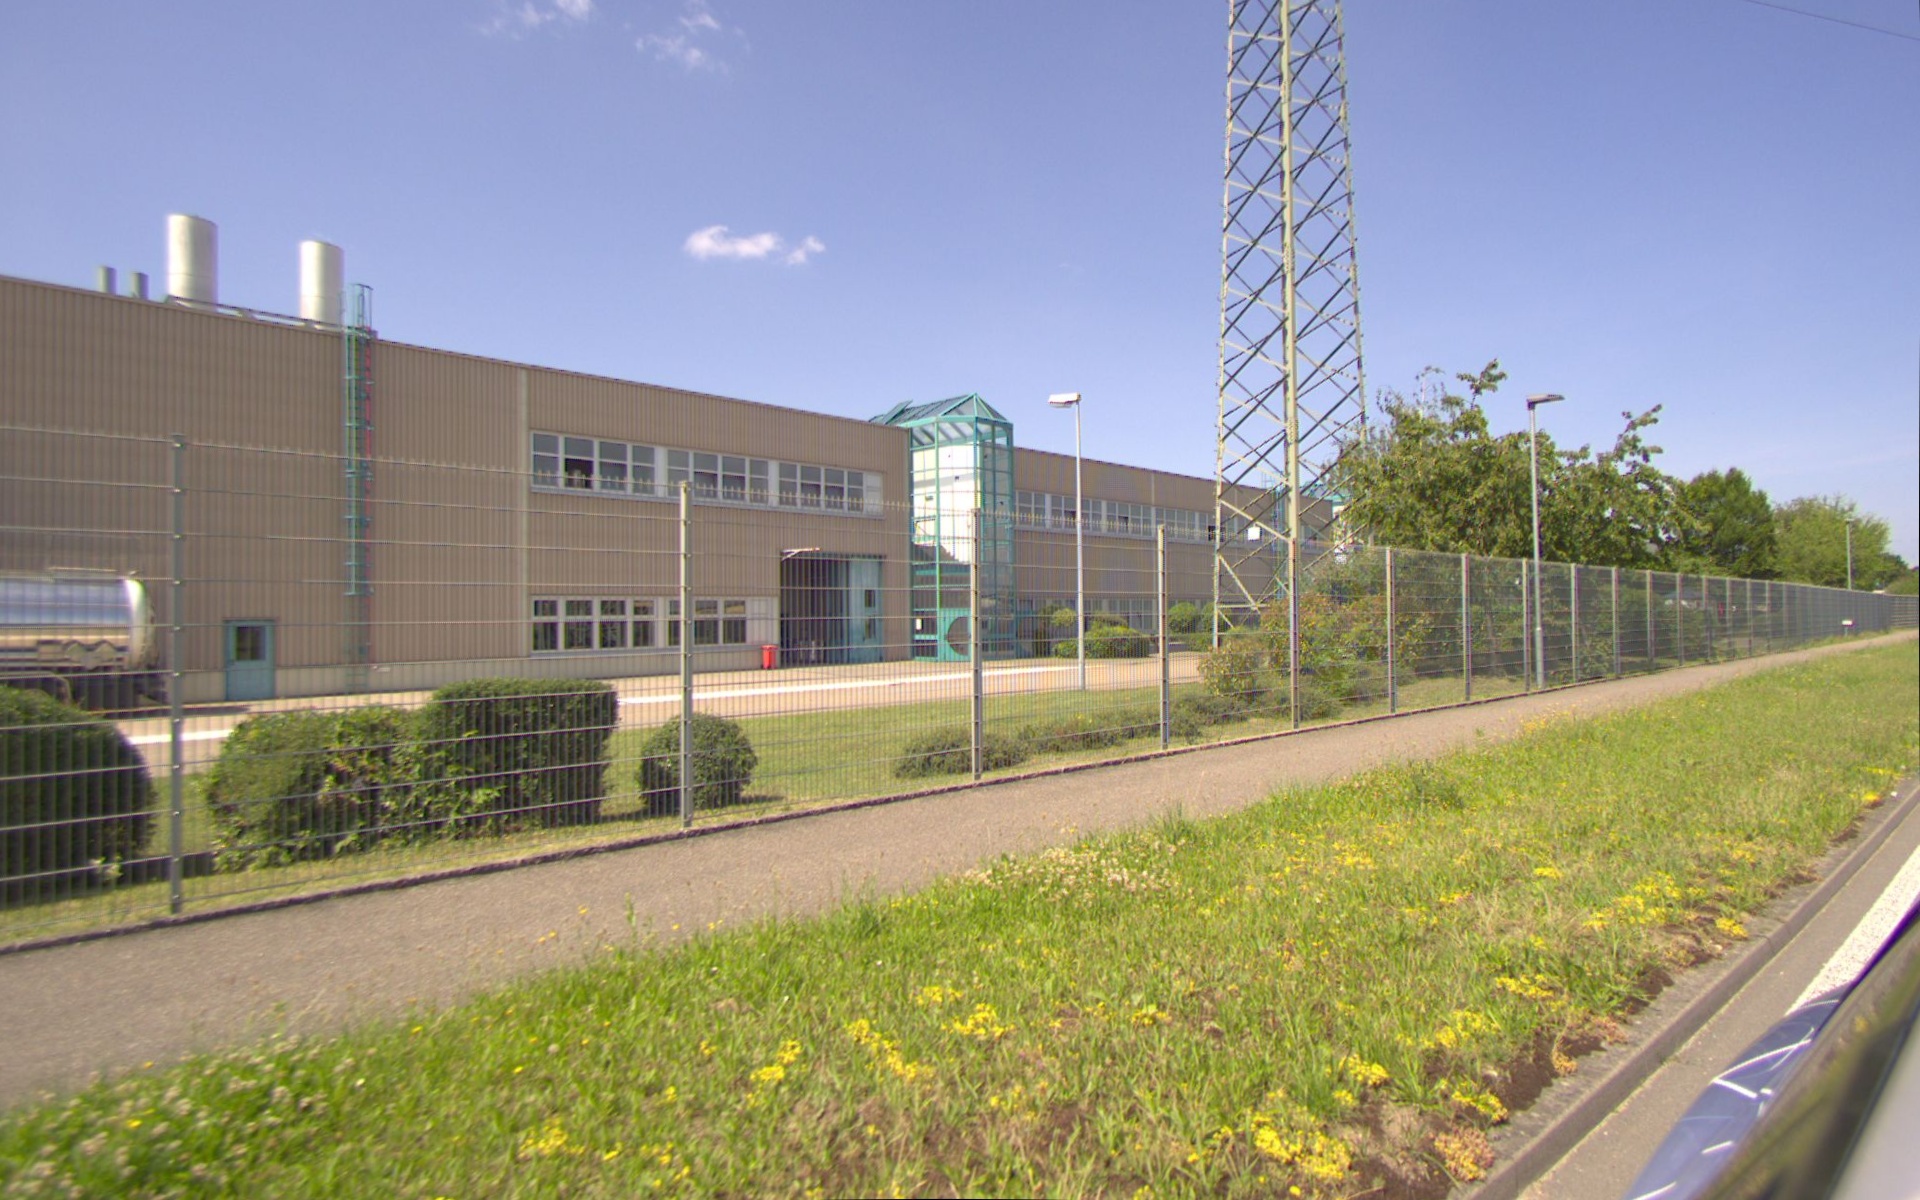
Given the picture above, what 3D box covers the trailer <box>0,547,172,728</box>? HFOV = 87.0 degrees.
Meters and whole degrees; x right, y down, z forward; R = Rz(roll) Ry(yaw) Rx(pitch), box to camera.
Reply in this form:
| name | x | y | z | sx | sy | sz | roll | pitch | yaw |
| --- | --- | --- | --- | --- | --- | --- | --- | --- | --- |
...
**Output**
| name | x | y | z | sx | sy | sz | roll | pitch | yaw |
| --- | --- | --- | --- | --- | --- | --- | --- | --- | --- |
| trailer | -23.507 | 0.779 | 20.068 | 3.589 | 3.783 | 12.049 | 0 | 0 | 42 |
